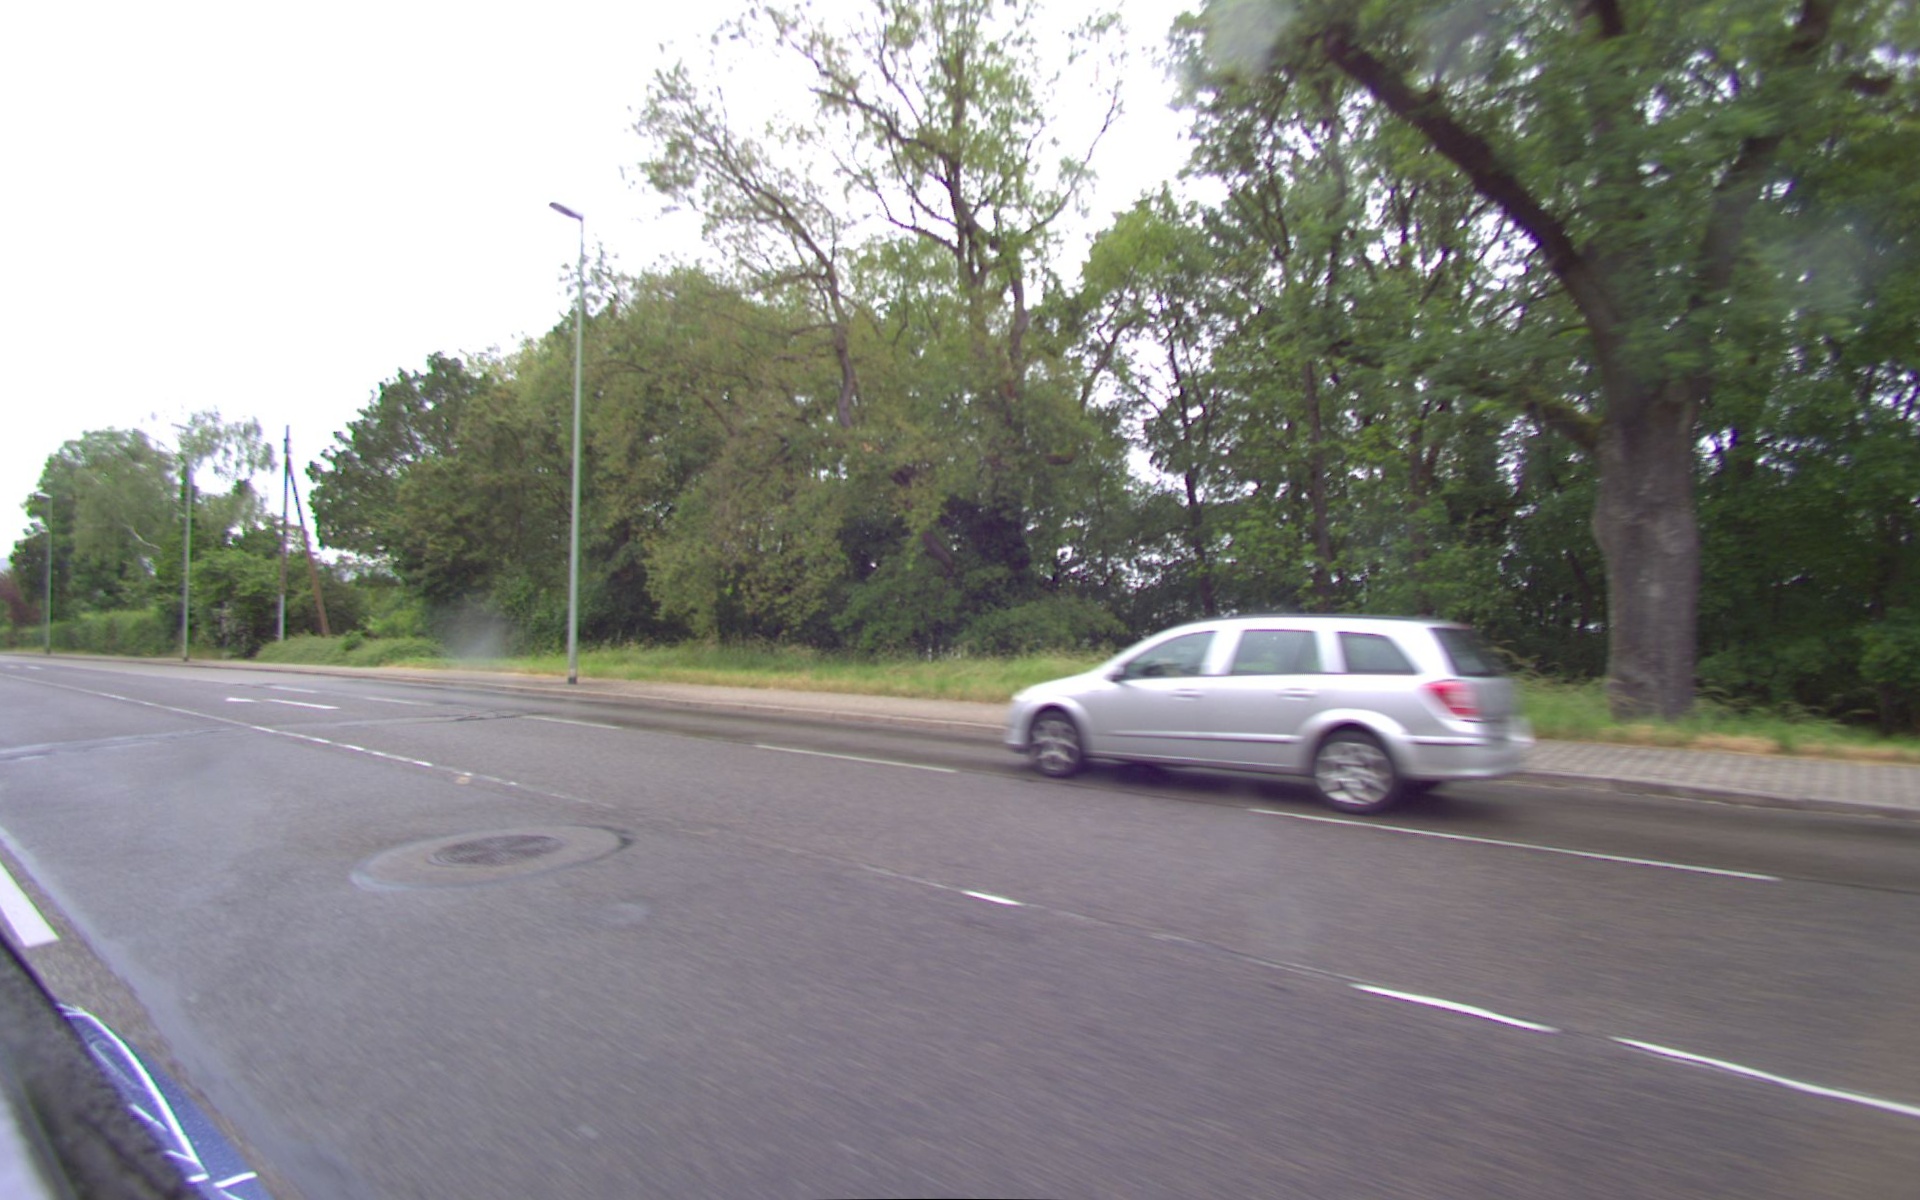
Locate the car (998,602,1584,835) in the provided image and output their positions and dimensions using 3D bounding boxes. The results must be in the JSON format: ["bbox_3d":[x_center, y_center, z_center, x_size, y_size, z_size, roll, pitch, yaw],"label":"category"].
[{"bbox_3d":[2.576,0.838,8.620,4.450,1.494,1.672,-1,-4,41],"label":"car"}]
